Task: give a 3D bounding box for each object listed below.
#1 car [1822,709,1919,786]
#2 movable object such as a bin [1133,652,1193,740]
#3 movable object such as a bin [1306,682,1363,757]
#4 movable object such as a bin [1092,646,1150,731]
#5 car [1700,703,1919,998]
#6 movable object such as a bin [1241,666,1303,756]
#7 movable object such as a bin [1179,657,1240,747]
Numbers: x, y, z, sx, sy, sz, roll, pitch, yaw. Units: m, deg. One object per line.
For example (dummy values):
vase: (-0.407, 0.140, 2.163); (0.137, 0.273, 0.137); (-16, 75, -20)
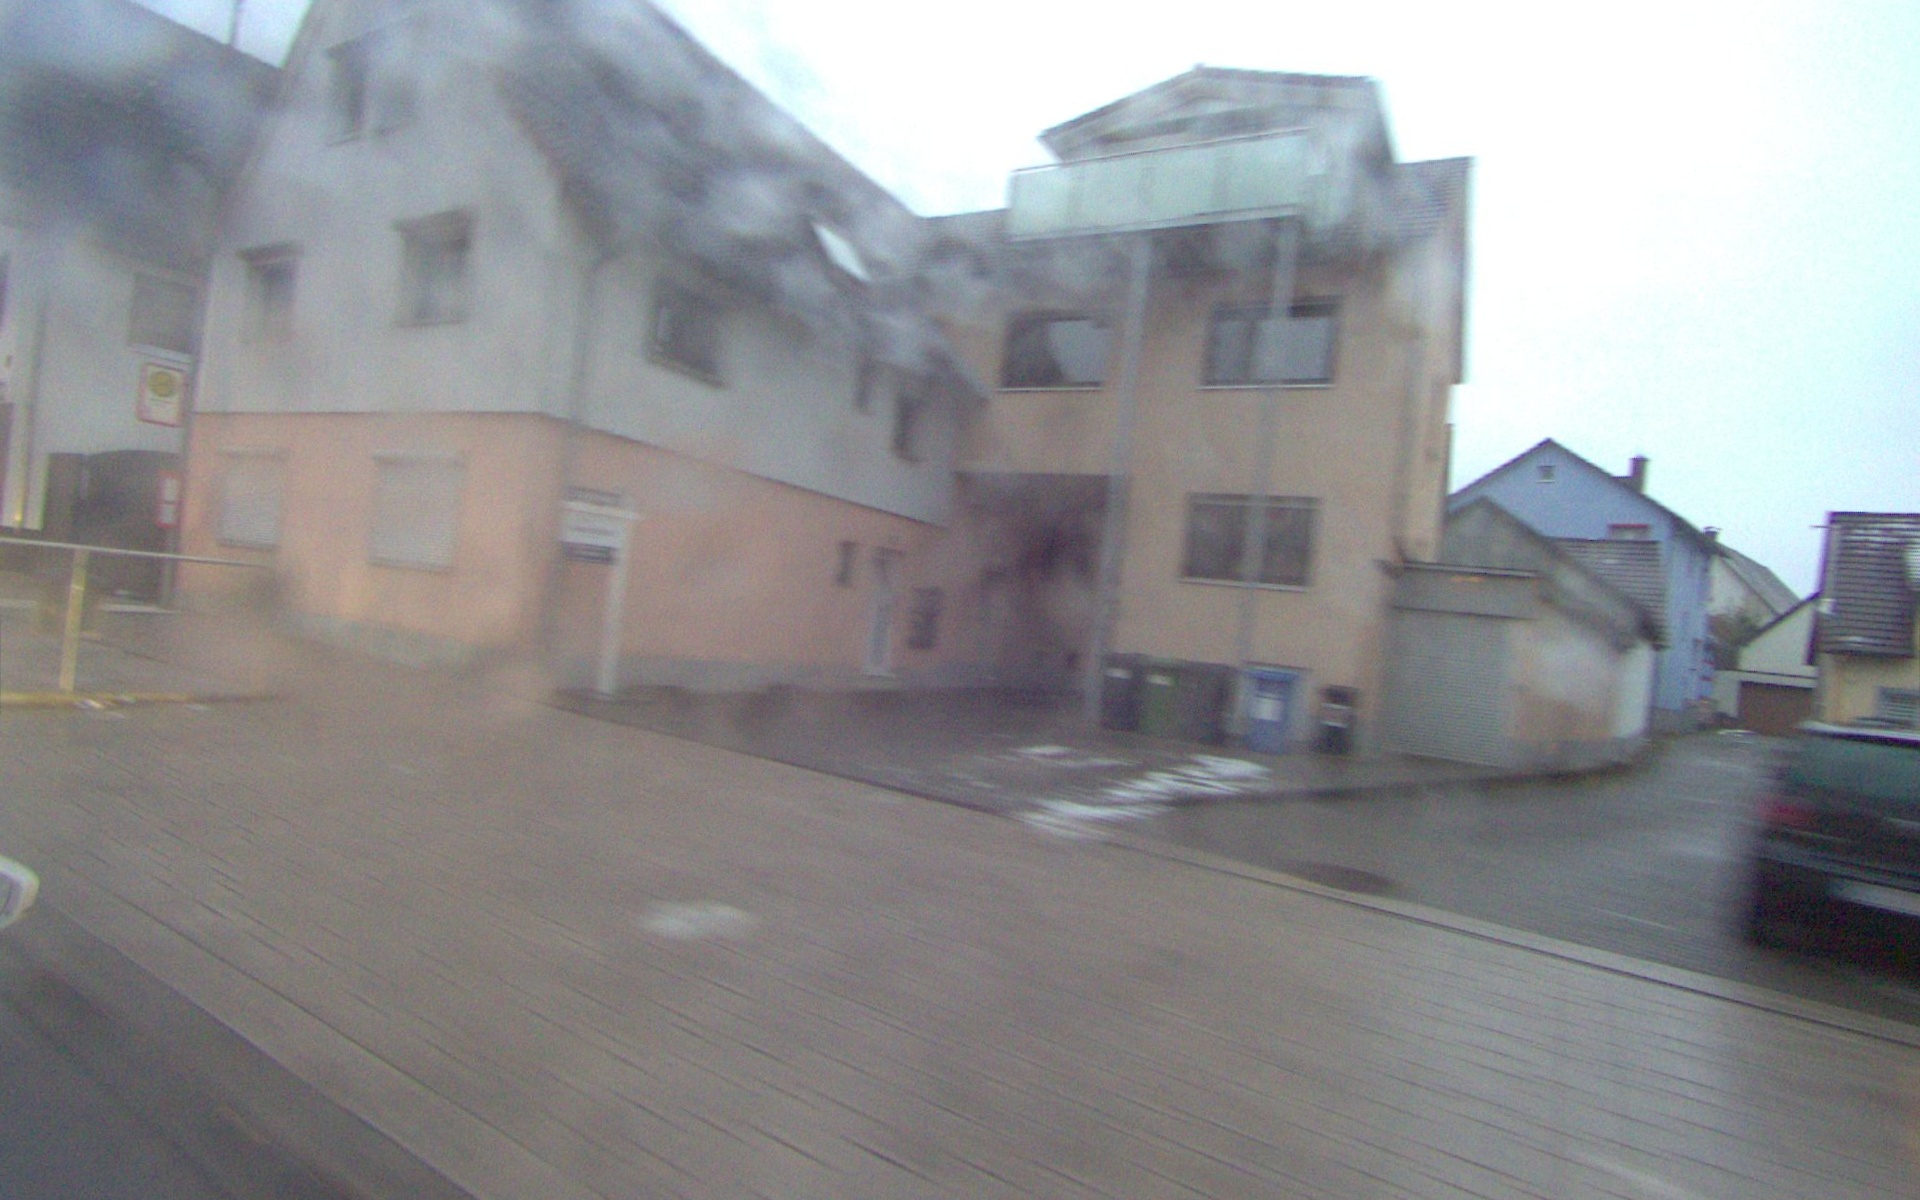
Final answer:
car: (24.188, 3.864, 26.366); (3.755, 1.588, 1.851); (8, 0, -42)
movable object such as a bin: (2.714, 1.279, 13.444); (0.576, 1.090, 0.372); (6, -2, 30)
movable object such as a bin: (5.056, 1.611, 13.567); (0.576, 0.917, 0.372); (6, -2, 30)
movable object such as a bin: (2.223, 1.221, 13.871); (0.576, 1.090, 0.372); (6, -2, 30)
car: (6.541, 1.626, 6.880); (3.865, 1.444, 1.660); (8, 0, -44)
movable object such as a bin: (4.002, 1.416, 12.900); (0.576, 1.059, 0.372); (6, -2, 30)
movable object such as a bin: (3.262, 1.335, 13.160); (0.576, 1.090, 0.372); (6, -2, 30)
